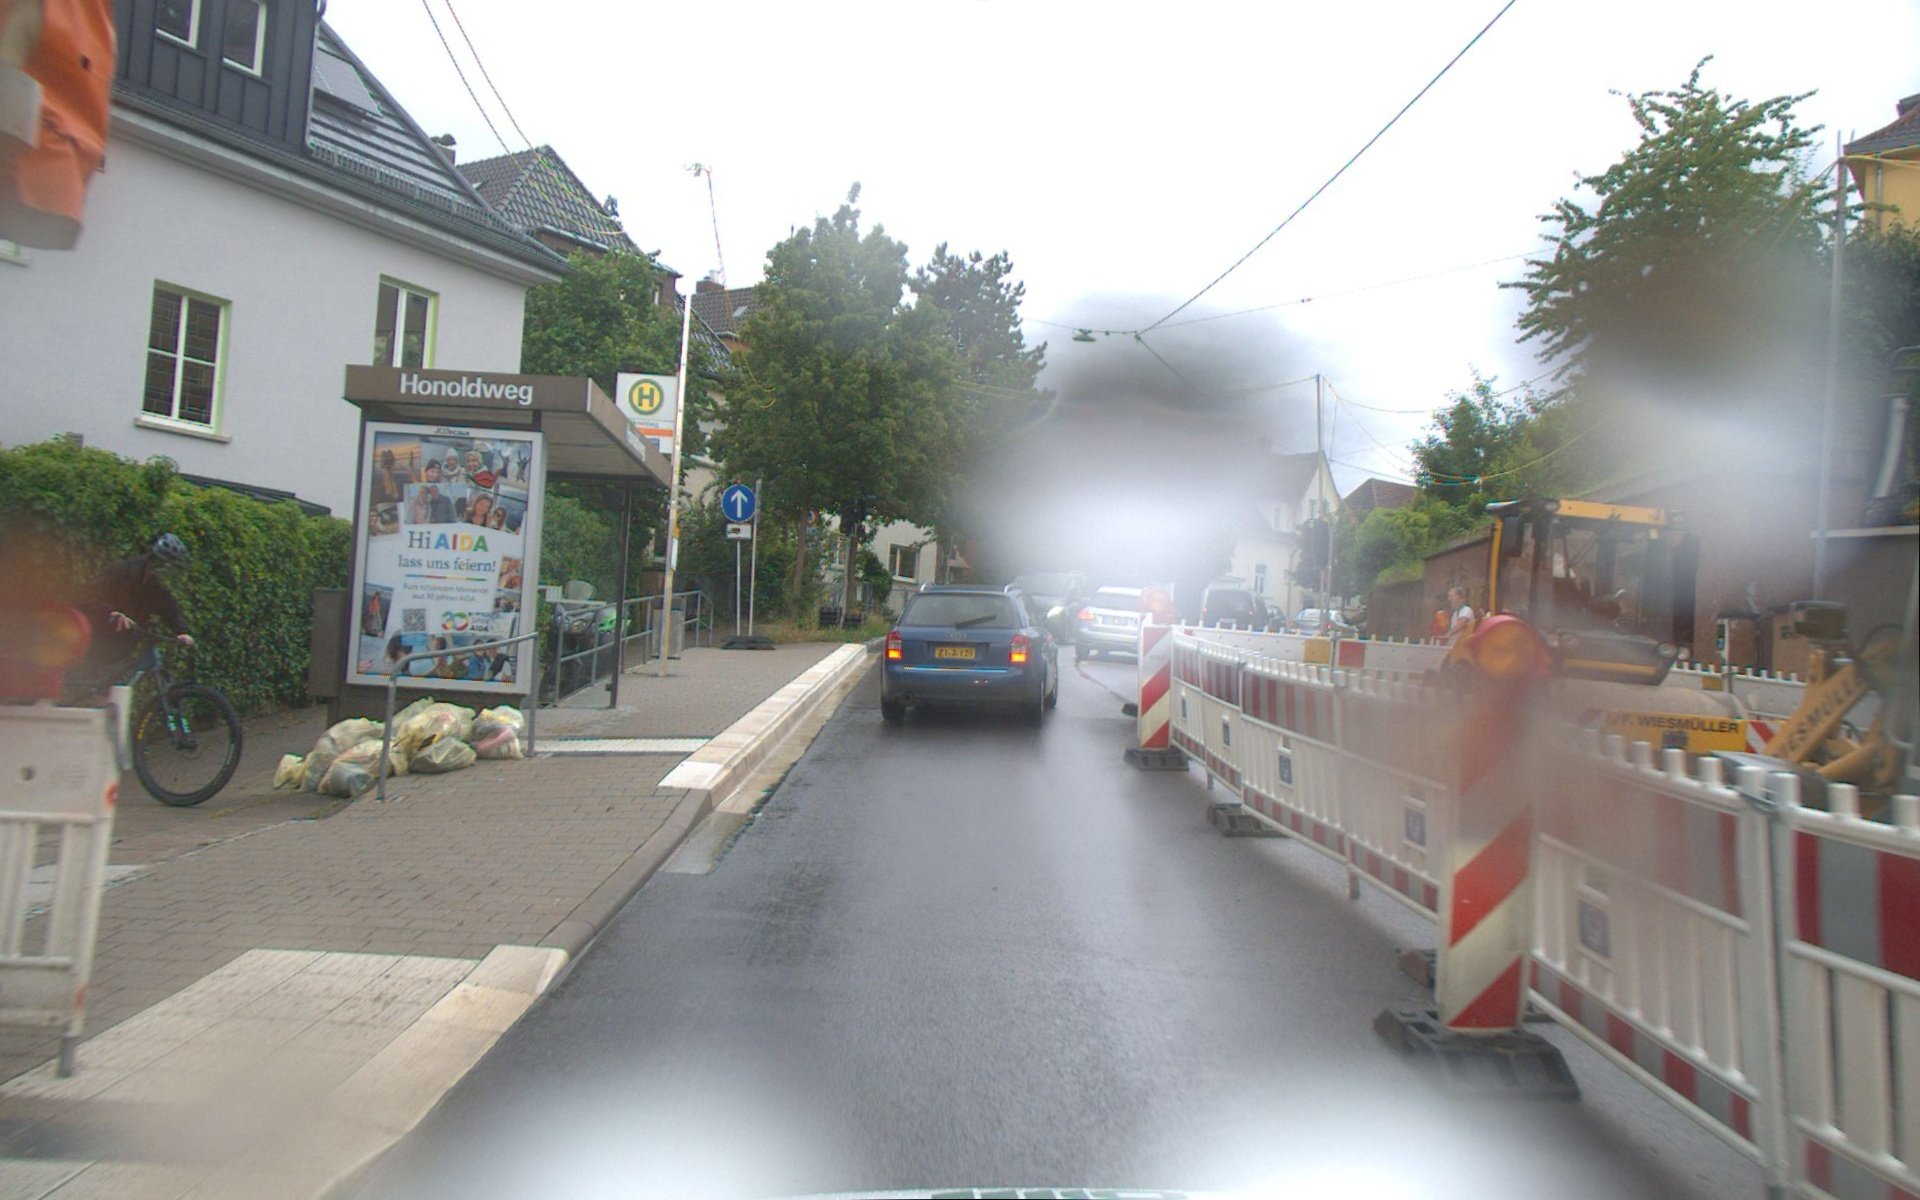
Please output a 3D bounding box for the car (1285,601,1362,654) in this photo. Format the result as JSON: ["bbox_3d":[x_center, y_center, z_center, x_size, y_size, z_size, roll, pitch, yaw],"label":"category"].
[{"bbox_3d":[13.365,0.996,60.677,1.700,1.799,4.230,3,1,27],"label":"car"}]

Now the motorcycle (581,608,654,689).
[{"bbox_3d":[-4.434,0.604,21.501,0.653,0.950,2.008,1,1,-4],"label":"motorcycle"}]

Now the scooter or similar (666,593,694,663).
[{"bbox_3d":[-4.524,0.446,26.770,0.317,1.099,1.095,1,0,-3],"label":"scooter or similar"}]

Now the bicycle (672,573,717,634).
[{"bbox_3d":[-6.003,0.059,37.462,0.480,1.293,2.274,4,1,2],"label":"bicycle"}]

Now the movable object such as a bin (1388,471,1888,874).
[{"bbox_3d":[5.743,0.487,15.055,2.044,2.887,5.676,2,1,-1],"label":"movable object such as a bin"}]

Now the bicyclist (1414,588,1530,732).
[{"bbox_3d":[6.547,0.756,21.186,1.054,1.758,0.931,3,0,-10],"label":"bicyclist"}]

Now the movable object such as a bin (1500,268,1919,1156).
[{"bbox_3d":[4.132,0.413,6.458,2.044,2.888,5.675,2,-2,-1],"label":"movable object such as a bin"}]

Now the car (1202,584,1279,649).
[{"bbox_3d":[8.575,0.456,50.329,1.697,1.799,4.237,1,1,19],"label":"car"}]

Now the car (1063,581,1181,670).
[{"bbox_3d":[3.441,0.473,34.466,1.933,1.663,4.239,0,1,12],"label":"car"}]

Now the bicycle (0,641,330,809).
[{"bbox_3d":[-5.175,0.766,10.560,1.831,0.948,1.098,1,0,7],"label":"bicycle"}]

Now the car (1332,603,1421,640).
[{"bbox_3d":[20.279,1.055,80.446,4.864,1.572,1.844,3,-1,-43],"label":"car"}]

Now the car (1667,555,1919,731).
[{"bbox_3d":[11.821,0.636,21.726,4.288,2.049,1.813,3,-4,-3],"label":"car"}]

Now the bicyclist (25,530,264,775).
[{"bbox_3d":[-5.173,0.317,10.566,0.887,1.464,1.098,1,-1,7],"label":"bicyclist"}]

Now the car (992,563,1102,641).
[{"bbox_3d":[2.386,0.071,43.834,1.856,1.922,5.156,1,0,15],"label":"car"}]

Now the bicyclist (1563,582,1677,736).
[{"bbox_3d":[7.954,0.698,19.929,1.055,1.758,0.930,3,0,33],"label":"bicyclist"}]

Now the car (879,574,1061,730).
[{"bbox_3d":[0.217,0.477,18.333,1.697,1.492,4.003,0,1,5],"label":"car"}]

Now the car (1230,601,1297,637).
[{"bbox_3d":[13.276,0.833,72.161,1.639,1.492,3.887,1,-1,30],"label":"car"}]

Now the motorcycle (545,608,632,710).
[{"bbox_3d":[-4.253,0.648,19.070,0.653,1.054,2.151,1,1,-4],"label":"motorcycle"}]
